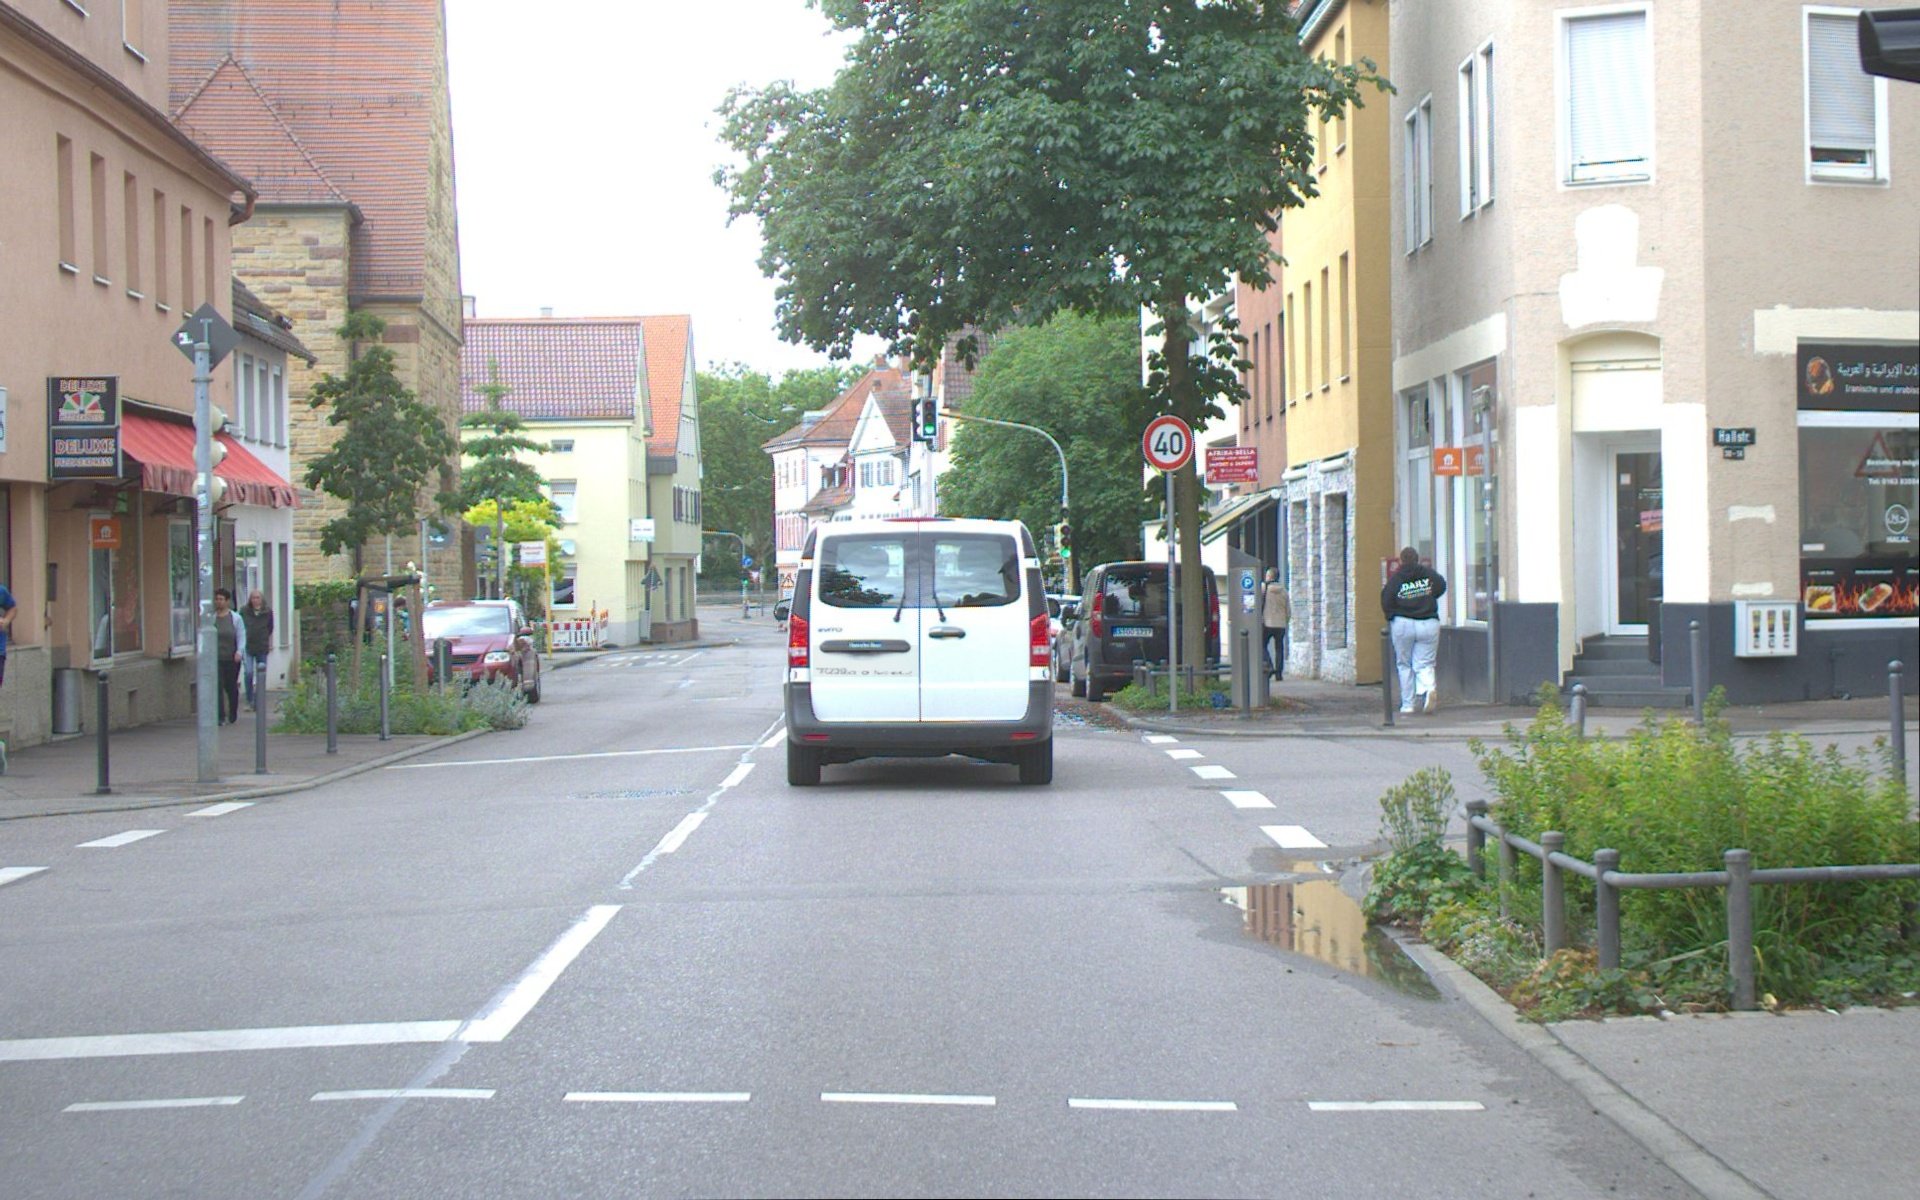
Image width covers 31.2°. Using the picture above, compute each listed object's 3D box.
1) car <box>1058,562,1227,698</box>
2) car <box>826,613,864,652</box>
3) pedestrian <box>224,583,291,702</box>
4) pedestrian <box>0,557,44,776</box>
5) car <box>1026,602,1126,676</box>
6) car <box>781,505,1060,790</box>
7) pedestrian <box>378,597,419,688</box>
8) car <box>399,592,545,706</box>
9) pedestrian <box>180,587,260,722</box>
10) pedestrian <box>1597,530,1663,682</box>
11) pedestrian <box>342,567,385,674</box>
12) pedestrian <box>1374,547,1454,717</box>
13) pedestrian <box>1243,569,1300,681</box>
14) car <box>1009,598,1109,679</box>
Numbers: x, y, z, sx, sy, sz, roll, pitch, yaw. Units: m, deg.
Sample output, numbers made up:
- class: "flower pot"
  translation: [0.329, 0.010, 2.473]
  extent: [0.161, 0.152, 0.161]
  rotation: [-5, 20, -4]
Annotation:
- class: "car"
  translation: [2.450, 0.408, 47.141]
  extent: [1.819, 1.775, 4.403]
  rotation: [0, 0, -3]
- class: "car"
  translation: [-6.144, 1.730, 183.574]
  extent: [1.934, 2.007, 4.000]
  rotation: [0, -1, -3]
- class: "pedestrian"
  translation: [-9.705, 0.581, 47.473]
  extent: [0.730, 1.623, 0.758]
  rotation: [-1, 0, -25]
- class: "pedestrian"
  translation: [-7.787, 0.517, 27.382]
  extent: [0.738, 1.712, 1.157]
  rotation: [0, 0, -4]
- class: "car"
  translation: [2.140, 0.725, 64.282]
  extent: [1.551, 1.328, 3.812]
  rotation: [0, 0, -3]
- class: "car"
  translation: [-0.302, 0.322, 25.209]
  extent: [1.872, 1.905, 4.000]
  rotation: [0, 0, -1]
- class: "pedestrian"
  translation: [-9.733, 0.730, 59.610]
  extent: [0.571, 1.549, 0.697]
  rotation: [1, 0, -1]
- class: "car"
  translation: [-7.338, 0.709, 52.053]
  extent: [1.702, 1.568, 4.451]
  rotation: [-3, 0, -2]
- class: "pedestrian"
  translation: [-8.506, 0.619, 39.542]
  extent: [0.738, 1.529, 0.983]
  rotation: [0, 0, -3]
- class: "pedestrian"
  translation: [6.921, 0.060, 35.506]
  extent: [0.567, 1.555, 0.521]
  rotation: [0, -1, -1]
- class: "pedestrian"
  translation: [-10.460, 0.356, 60.293]
  extent: [0.571, 1.842, 0.697]
  rotation: [2, 0, -1]
- class: "pedestrian"
  translation: [4.493, 0.311, 34.063]
  extent: [0.614, 1.647, 0.983]
  rotation: [-1, 0, -2]
- class: "pedestrian"
  translation: [4.692, 0.372, 51.829]
  extent: [0.701, 1.643, 0.889]
  rotation: [-2, 0, -2]
- class: "car"
  translation: [1.957, 0.765, 68.884]
  extent: [1.711, 1.555, 3.786]
  rotation: [0, 0, -3]
